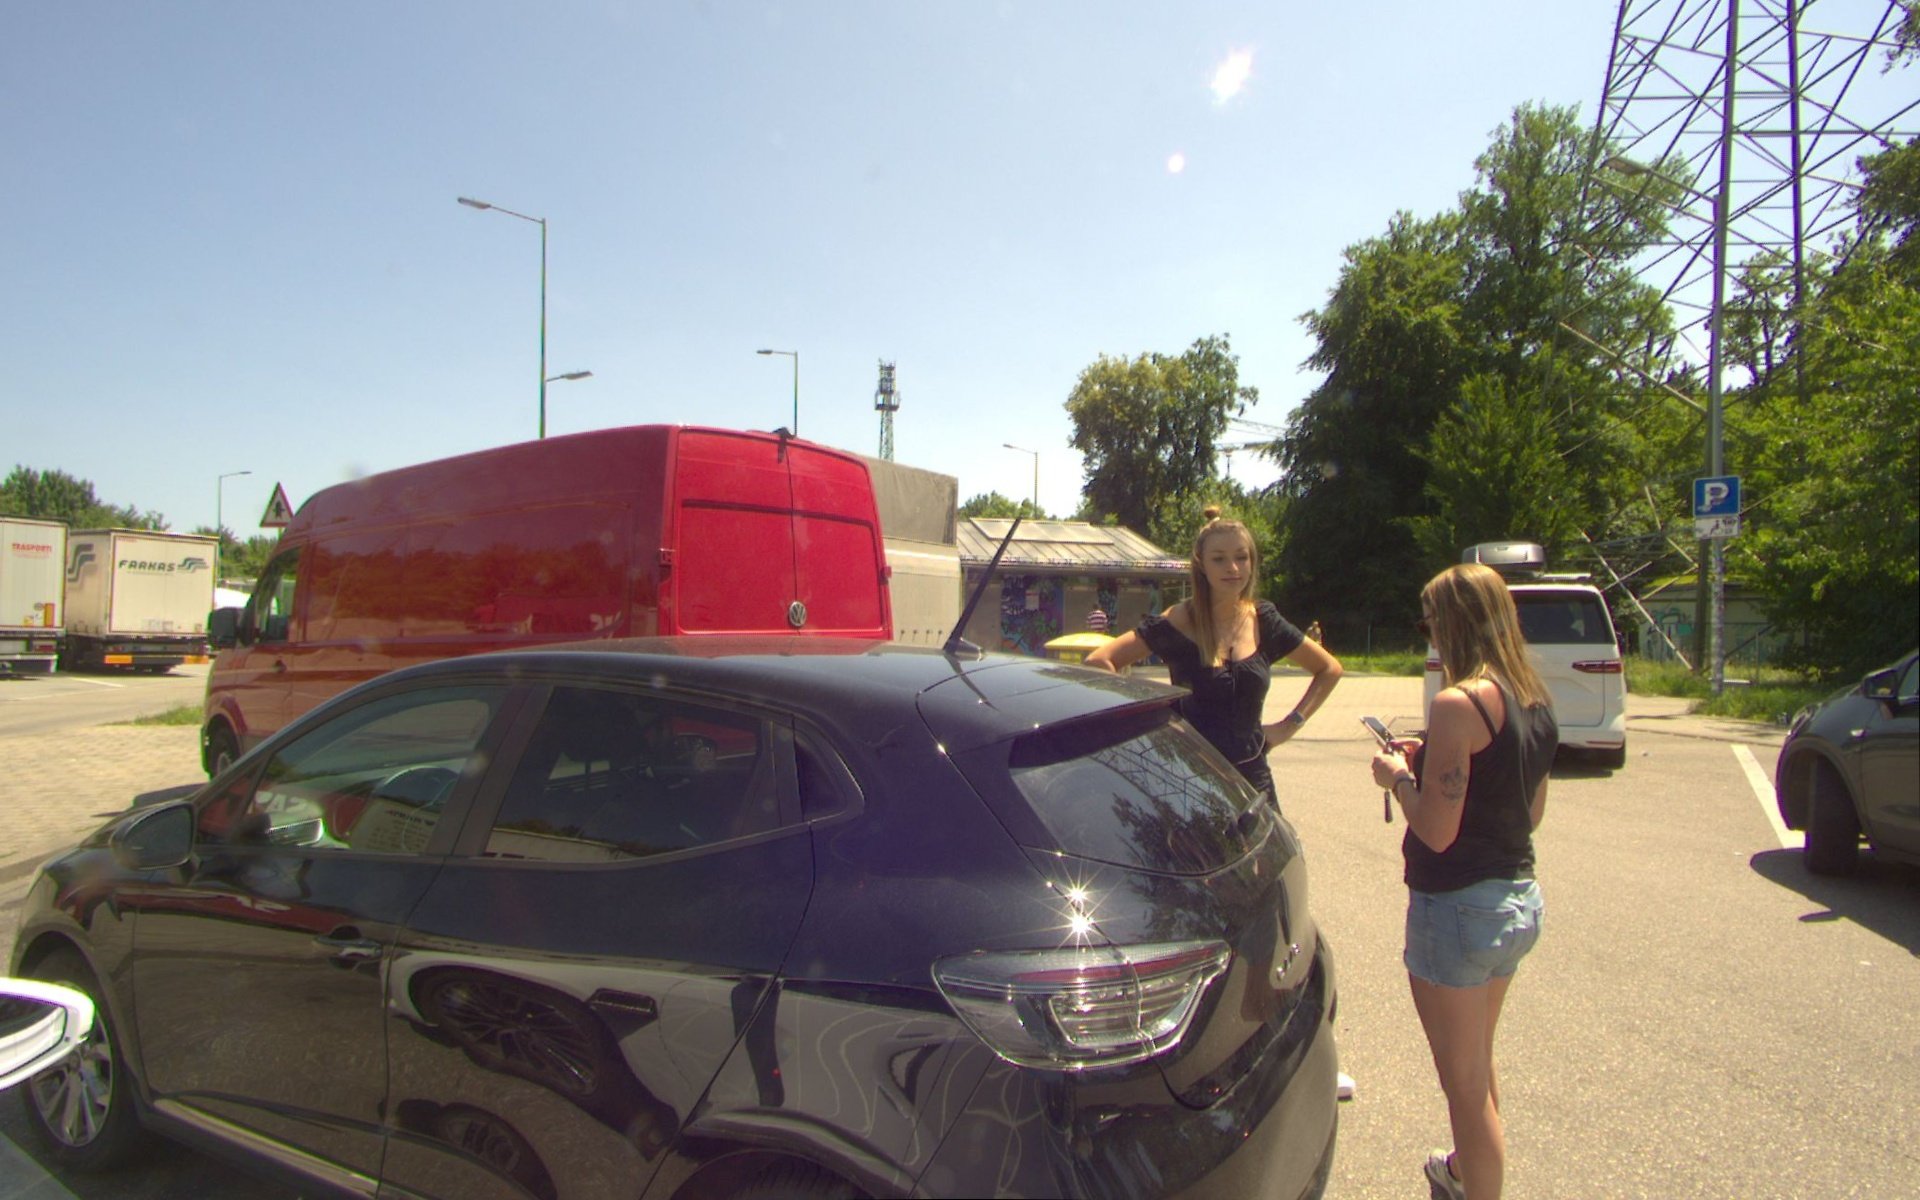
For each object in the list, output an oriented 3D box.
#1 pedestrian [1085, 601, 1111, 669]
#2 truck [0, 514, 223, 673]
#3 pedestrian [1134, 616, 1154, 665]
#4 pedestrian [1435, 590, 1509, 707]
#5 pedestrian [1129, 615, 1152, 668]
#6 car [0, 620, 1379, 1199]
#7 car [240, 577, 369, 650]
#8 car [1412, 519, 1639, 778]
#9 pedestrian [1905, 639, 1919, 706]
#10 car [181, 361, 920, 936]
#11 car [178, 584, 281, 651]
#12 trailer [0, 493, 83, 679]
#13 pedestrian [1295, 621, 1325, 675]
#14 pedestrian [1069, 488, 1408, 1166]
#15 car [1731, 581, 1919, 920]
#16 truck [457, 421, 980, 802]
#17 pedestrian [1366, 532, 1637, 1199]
[{"bbox_3d":[3.679,0.922,26.715,0.520,1.783,0.651,0,0,23],"label":"pedestrian"},{"bbox_3d":[-27.130,-0.025,31.223,11.800,4.279,2.582,-1,-2,32],"label":"truck"},{"bbox_3d":[5.119,1.128,27.861,0.439,1.362,0.477,0,0,23],"label":"pedestrian"},{"bbox_3d":[8.603,0.811,16.857,0.761,1.903,0.840,0,-1,-7],"label":"pedestrian"},{"bbox_3d":[5.172,1.183,28.694,0.521,1.478,0.576,0,0,23],"label":"pedestrian"},{"bbox_3d":[-0.856,0.824,2.811,3.628,1.476,1.776,-1,-2,27],"label":"car"},{"bbox_3d":[-29.456,0.597,44.941,6.259,3.115,2.495,0,-1,32],"label":"car"},{"bbox_3d":[6.658,0.511,11.918,1.901,2.401,4.954,1,-1,29],"label":"car"},{"bbox_3d":[17.123,1.265,17.443,0.694,1.178,0.787,-1,-1,22],"label":"pedestrian"},{"bbox_3d":[-3.383,0.251,7.322,6.298,2.668,1.988,0,-1,36],"label":"car"},{"bbox_3d":[-29.927,0.752,41.024,3.943,2.632,2.111,-1,-2,32],"label":"car"},{"bbox_3d":[-28.566,-0.341,27.850,12.642,4.511,2.677,0,-1,32],"label":"trailer"},{"bbox_3d":[13.460,1.844,38.528,0.955,2.039,0.829,0,-1,10],"label":"pedestrian"},{"bbox_3d":[0.862,0.642,3.154,0.897,1.884,0.486,1,0,-18],"label":"pedestrian"},{"bbox_3d":[5.455,0.729,4.347,1.804,1.638,4.164,1,-1,14],"label":"car"},{"bbox_3d":[-2.462,0.172,9.903,4.751,2.863,2.514,-1,-2,34],"label":"truck"},{"bbox_3d":[1.211,0.682,2.270,0.478,1.615,0.501,0,0,29],"label":"pedestrian"}]
